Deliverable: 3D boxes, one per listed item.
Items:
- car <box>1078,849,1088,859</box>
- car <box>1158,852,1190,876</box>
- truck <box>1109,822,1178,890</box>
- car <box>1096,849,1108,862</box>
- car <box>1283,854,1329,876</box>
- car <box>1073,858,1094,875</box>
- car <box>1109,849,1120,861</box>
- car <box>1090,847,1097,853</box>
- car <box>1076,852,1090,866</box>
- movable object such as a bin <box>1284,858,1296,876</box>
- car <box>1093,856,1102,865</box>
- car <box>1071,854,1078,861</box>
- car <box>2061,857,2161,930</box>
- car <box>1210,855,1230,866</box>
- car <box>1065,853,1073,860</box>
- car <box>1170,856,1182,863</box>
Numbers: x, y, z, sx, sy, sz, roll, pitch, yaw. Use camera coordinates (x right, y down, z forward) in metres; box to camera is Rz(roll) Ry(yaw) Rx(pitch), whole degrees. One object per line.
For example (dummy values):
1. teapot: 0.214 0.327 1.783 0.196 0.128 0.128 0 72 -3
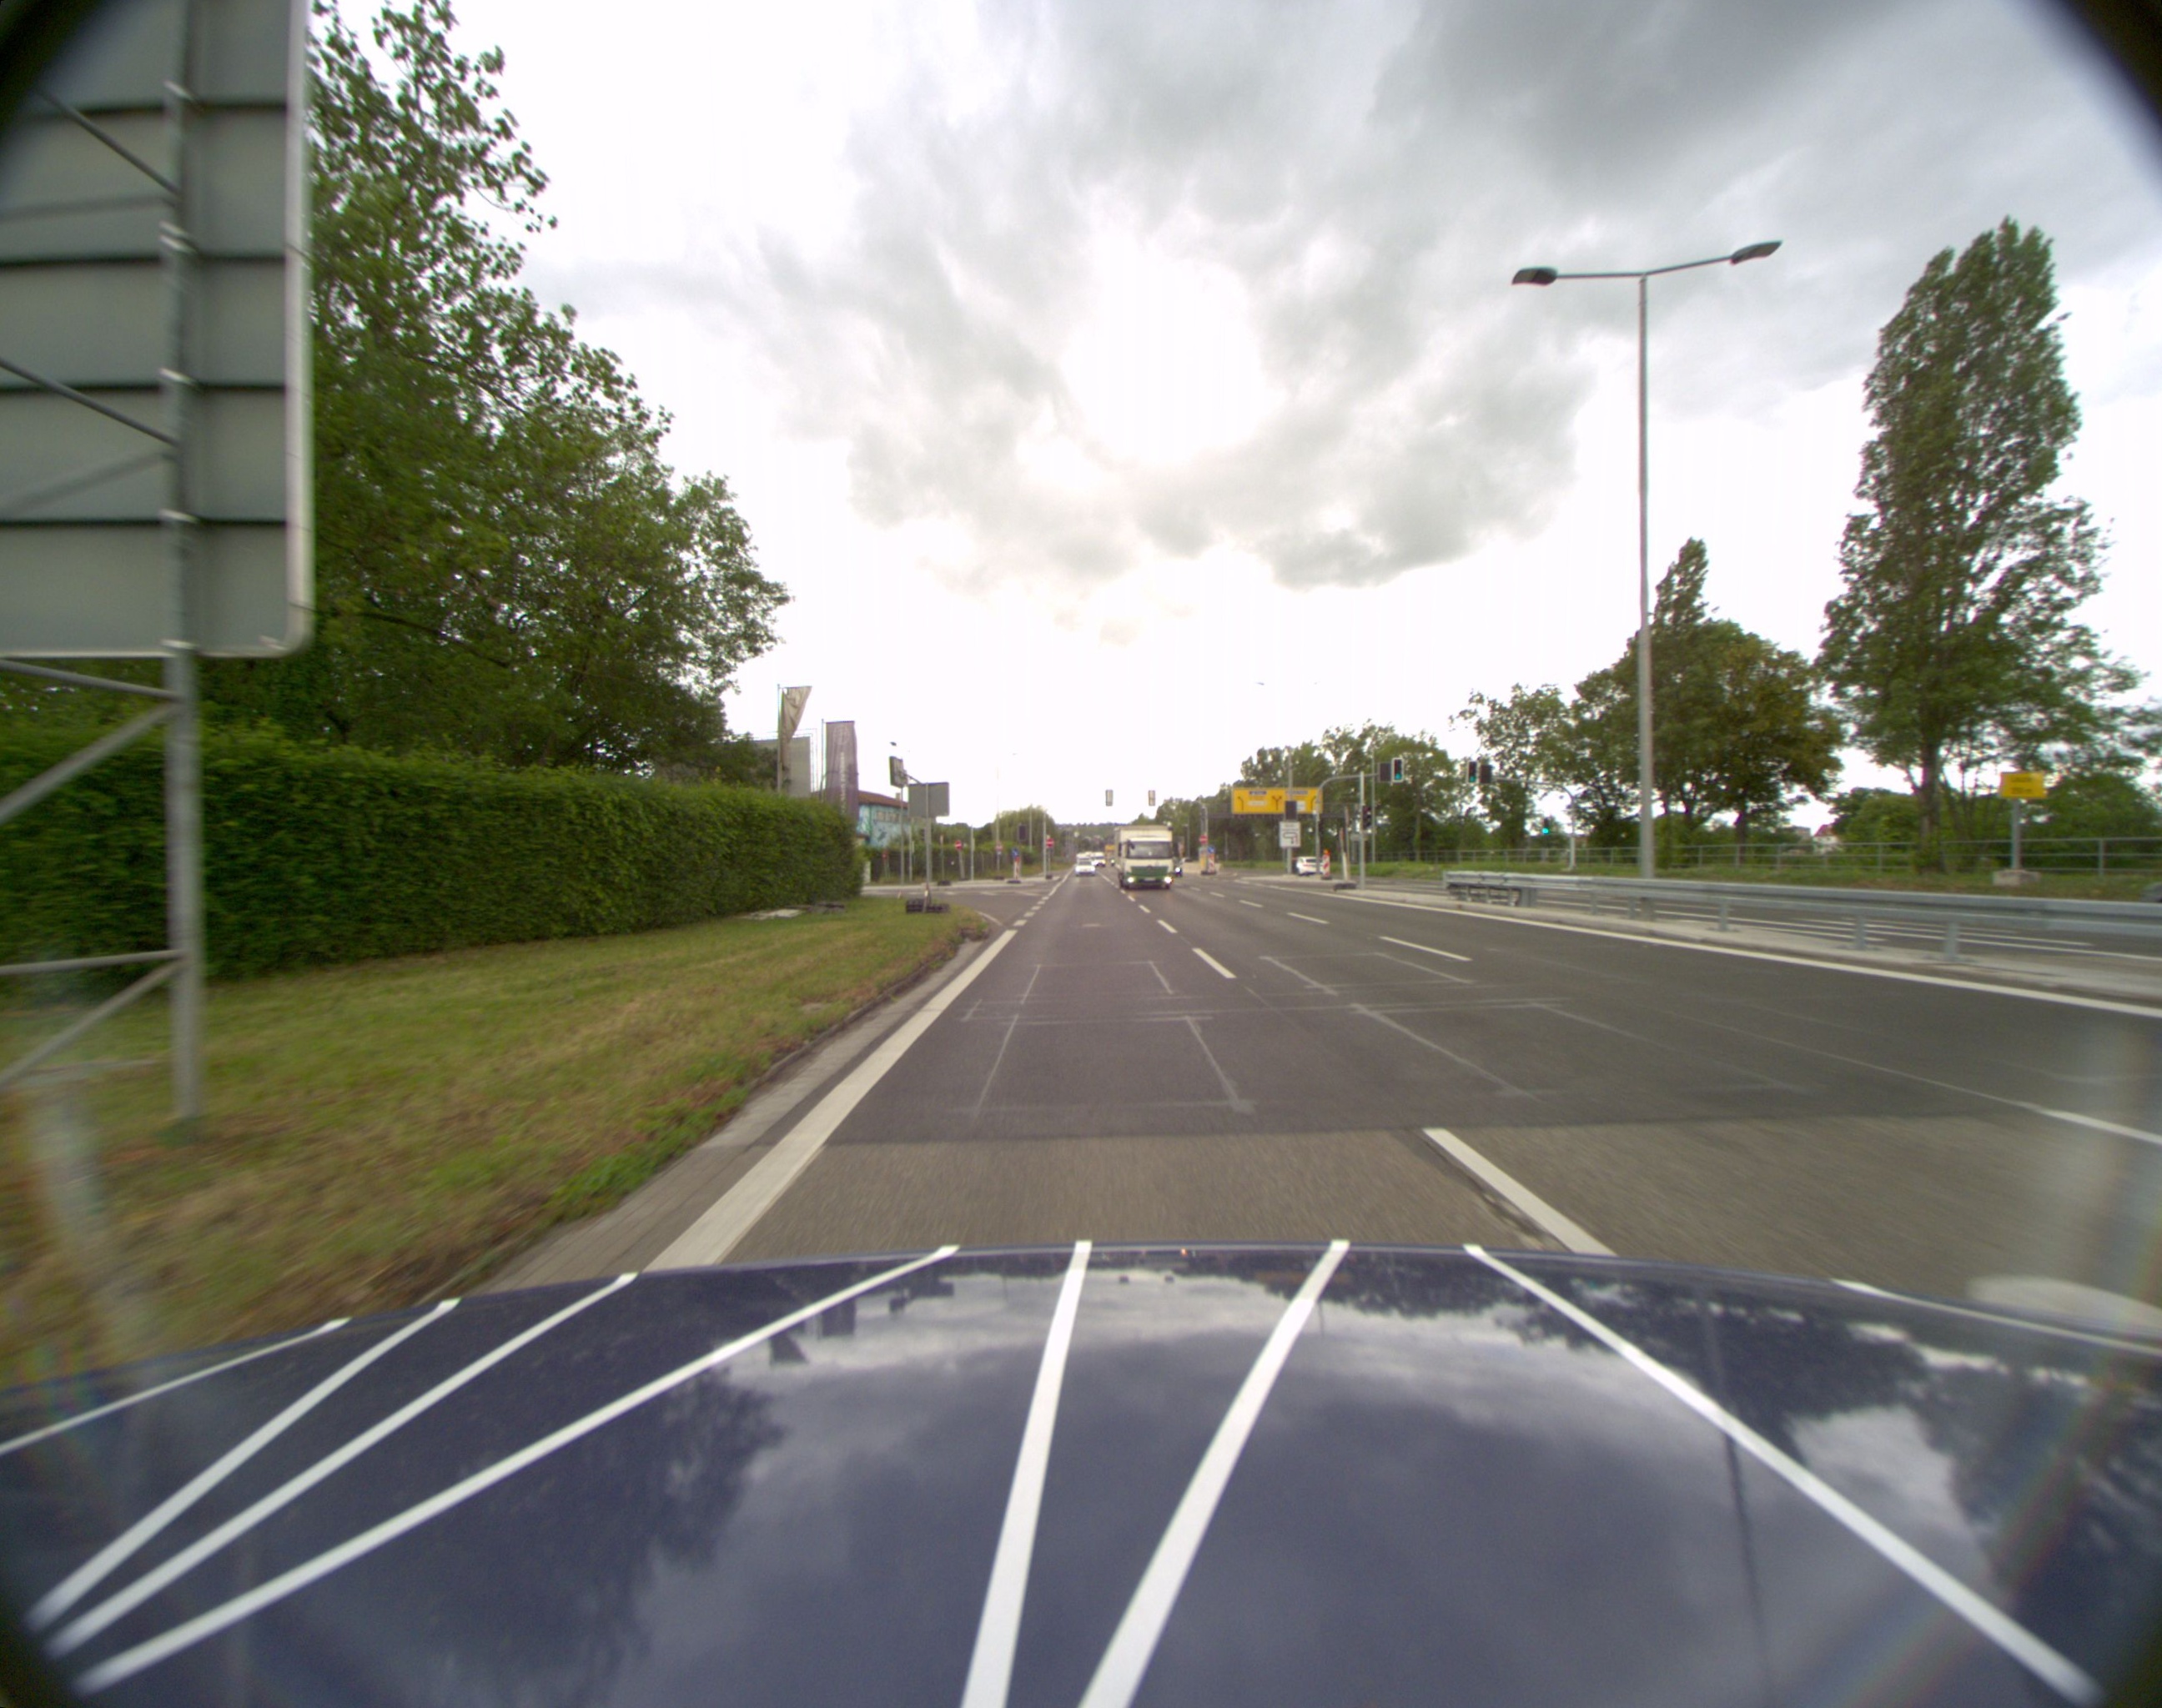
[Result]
1. car: 0.335 -0.043 147.394 1.949 1.811 4.000 -1 0 0
2. car: 7.051 0.754 57.897 1.883 1.714 4.146 -1 0 0
3. truck: 3.171 0.114 41.803 2.657 3.121 12.508 -1 0 0
4. car: 3.709 0.243 134.464 1.949 2.176 4.000 -1 0 0
5. car: 15.985 0.764 54.262 1.702 1.516 5.002 1 0 0
6. car: 0.212 1.117 70.236 1.949 1.516 4.000 -1 0 0
7. car: 6.367 0.134 144.173 1.949 2.176 4.000 -1 0 0
8. car: 3.547 -1.080 216.929 1.949 1.811 4.000 -1 0 0
9. car: 0.264 0.676 101.788 1.883 1.714 4.146 -1 0 0
10. movable object such as a bin: 11.833 0.727 43.019 0.570 1.018 0.622 -1 0 4
11. car: 3.623 1.413 166.631 1.949 1.811 4.000 -1 0 0
12. car: -1.850 1.038 208.367 1.949 1.811 4.000 -1 0 0
13. car: 22.392 0.783 14.420 1.931 1.410 4.368 -1 0 -1
14. car: 20.410 0.989 111.639 2.012 1.516 5.002 -1 0 0
15. car: -3.266 0.601 203.491 1.949 1.811 4.000 -1 0 0
16. car: 21.578 1.274 172.843 2.012 1.516 5.002 -1 0 0
